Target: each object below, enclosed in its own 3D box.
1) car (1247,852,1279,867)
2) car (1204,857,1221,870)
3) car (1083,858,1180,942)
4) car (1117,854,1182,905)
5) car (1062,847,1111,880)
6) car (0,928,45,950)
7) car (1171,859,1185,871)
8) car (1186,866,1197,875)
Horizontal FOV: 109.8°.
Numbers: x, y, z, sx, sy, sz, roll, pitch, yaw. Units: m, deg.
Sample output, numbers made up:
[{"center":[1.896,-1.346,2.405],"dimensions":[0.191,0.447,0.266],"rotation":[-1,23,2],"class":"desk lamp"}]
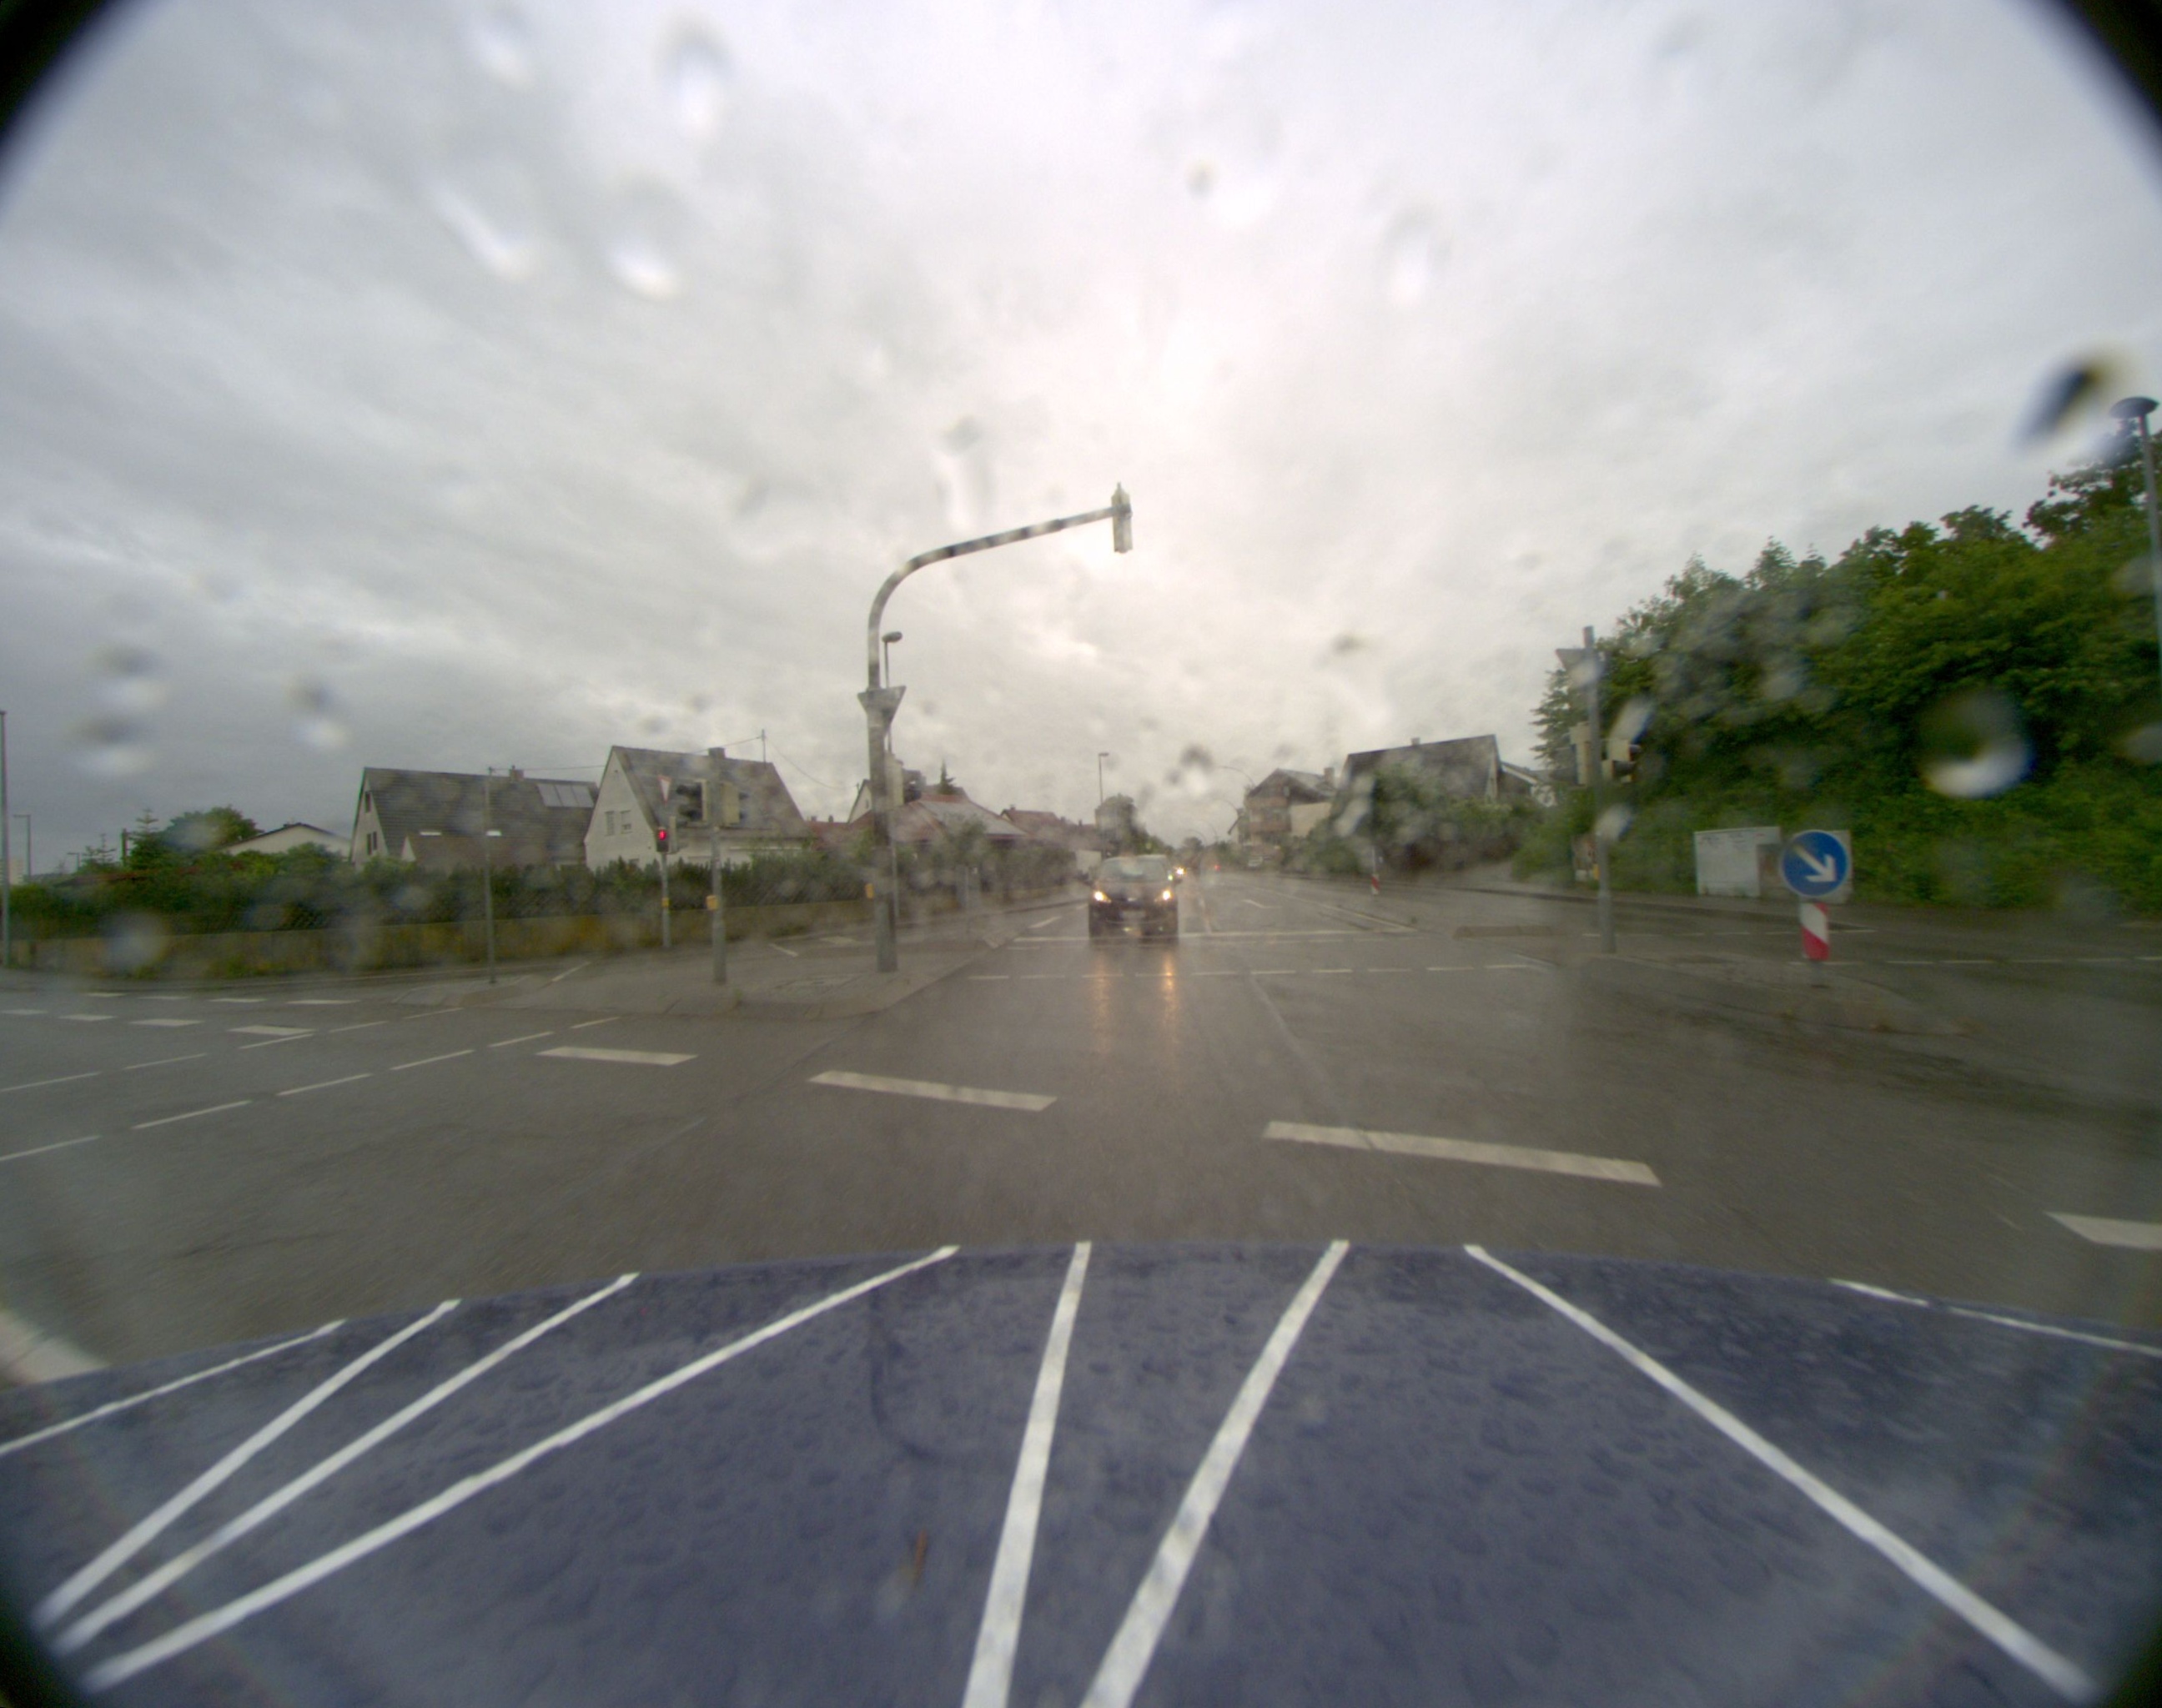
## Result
[{"center":[19.973,0.591,83.180],"dimensions":[1.661,1.538,4.008],"rotation":[-1,1,43],"class":"car"},{"center":[16.101,1.145,93.173],"dimensions":[1.624,1.496,3.823],"rotation":[-1,0,3],"class":"car"},{"center":[1.128,0.834,15.504],"dimensions":[1.665,1.410,3.934],"rotation":[-2,0,7],"class":"car"},{"center":[2.243,0.773,24.716],"dimensions":[1.897,1.474,4.002],"rotation":[-2,0,6],"class":"car"},{"center":[0.452,0.717,57.528],"dimensions":[1.650,2.337,4.008],"rotation":[-2,0,35],"class":"car"},{"center":[-93.859,7.522,67.357],"dimensions":[3.989,1.489,1.856],"rotation":[-1,1,43],"class":"car"},{"center":[14.602,1.618,114.344],"dimensions":[1.757,1.547,3.920],"rotation":[-2,0,3],"class":"car"},{"center":[21.574,3.184,148.510],"dimensions":[1.668,1.496,4.322],"rotation":[-2,0,2],"class":"car"}]
